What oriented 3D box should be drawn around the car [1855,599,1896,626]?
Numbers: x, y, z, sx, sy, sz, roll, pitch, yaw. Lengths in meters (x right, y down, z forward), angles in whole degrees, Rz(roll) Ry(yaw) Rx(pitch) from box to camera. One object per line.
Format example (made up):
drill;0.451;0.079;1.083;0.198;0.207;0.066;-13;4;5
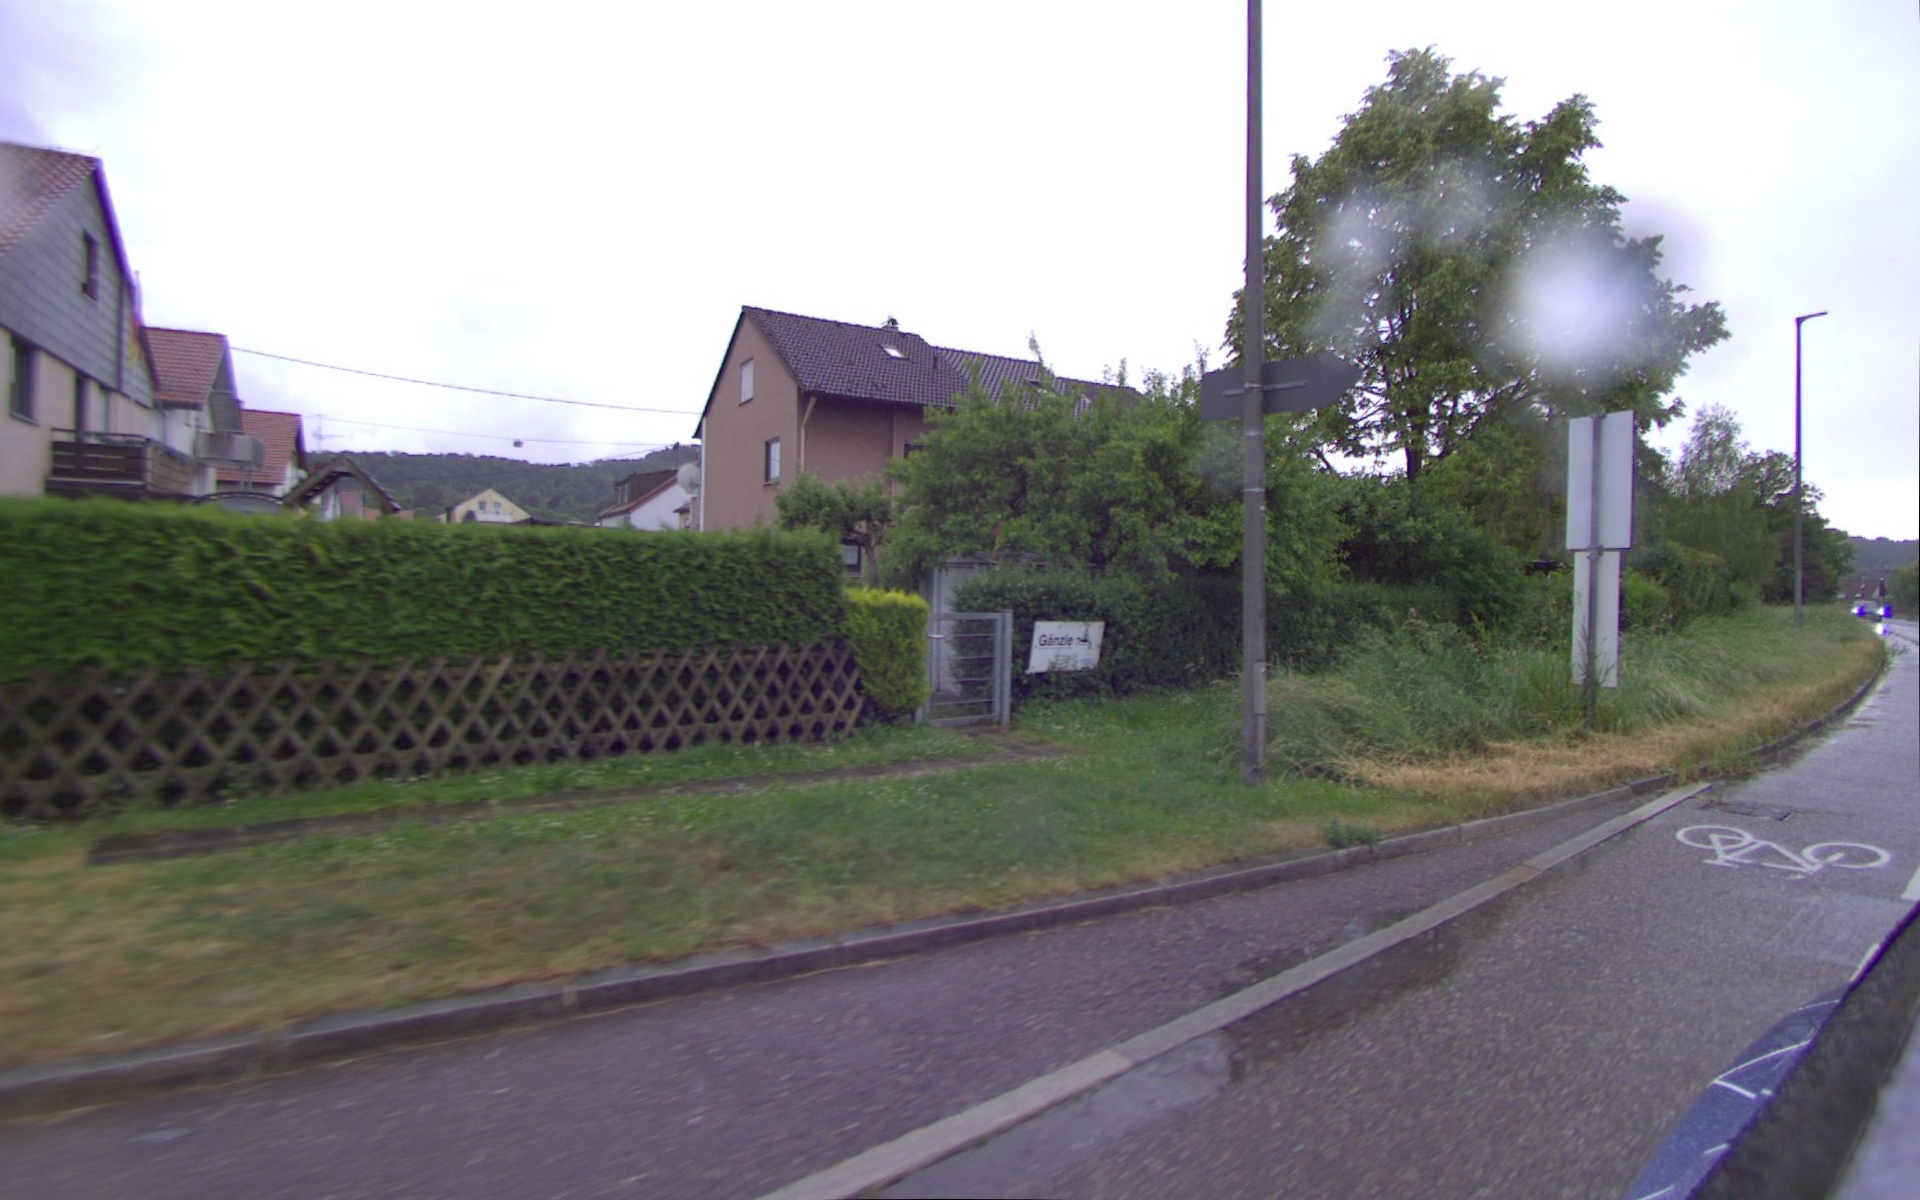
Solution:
car;66.388;0.855;73.426;1.991;1.865;3.942;2;1;40
